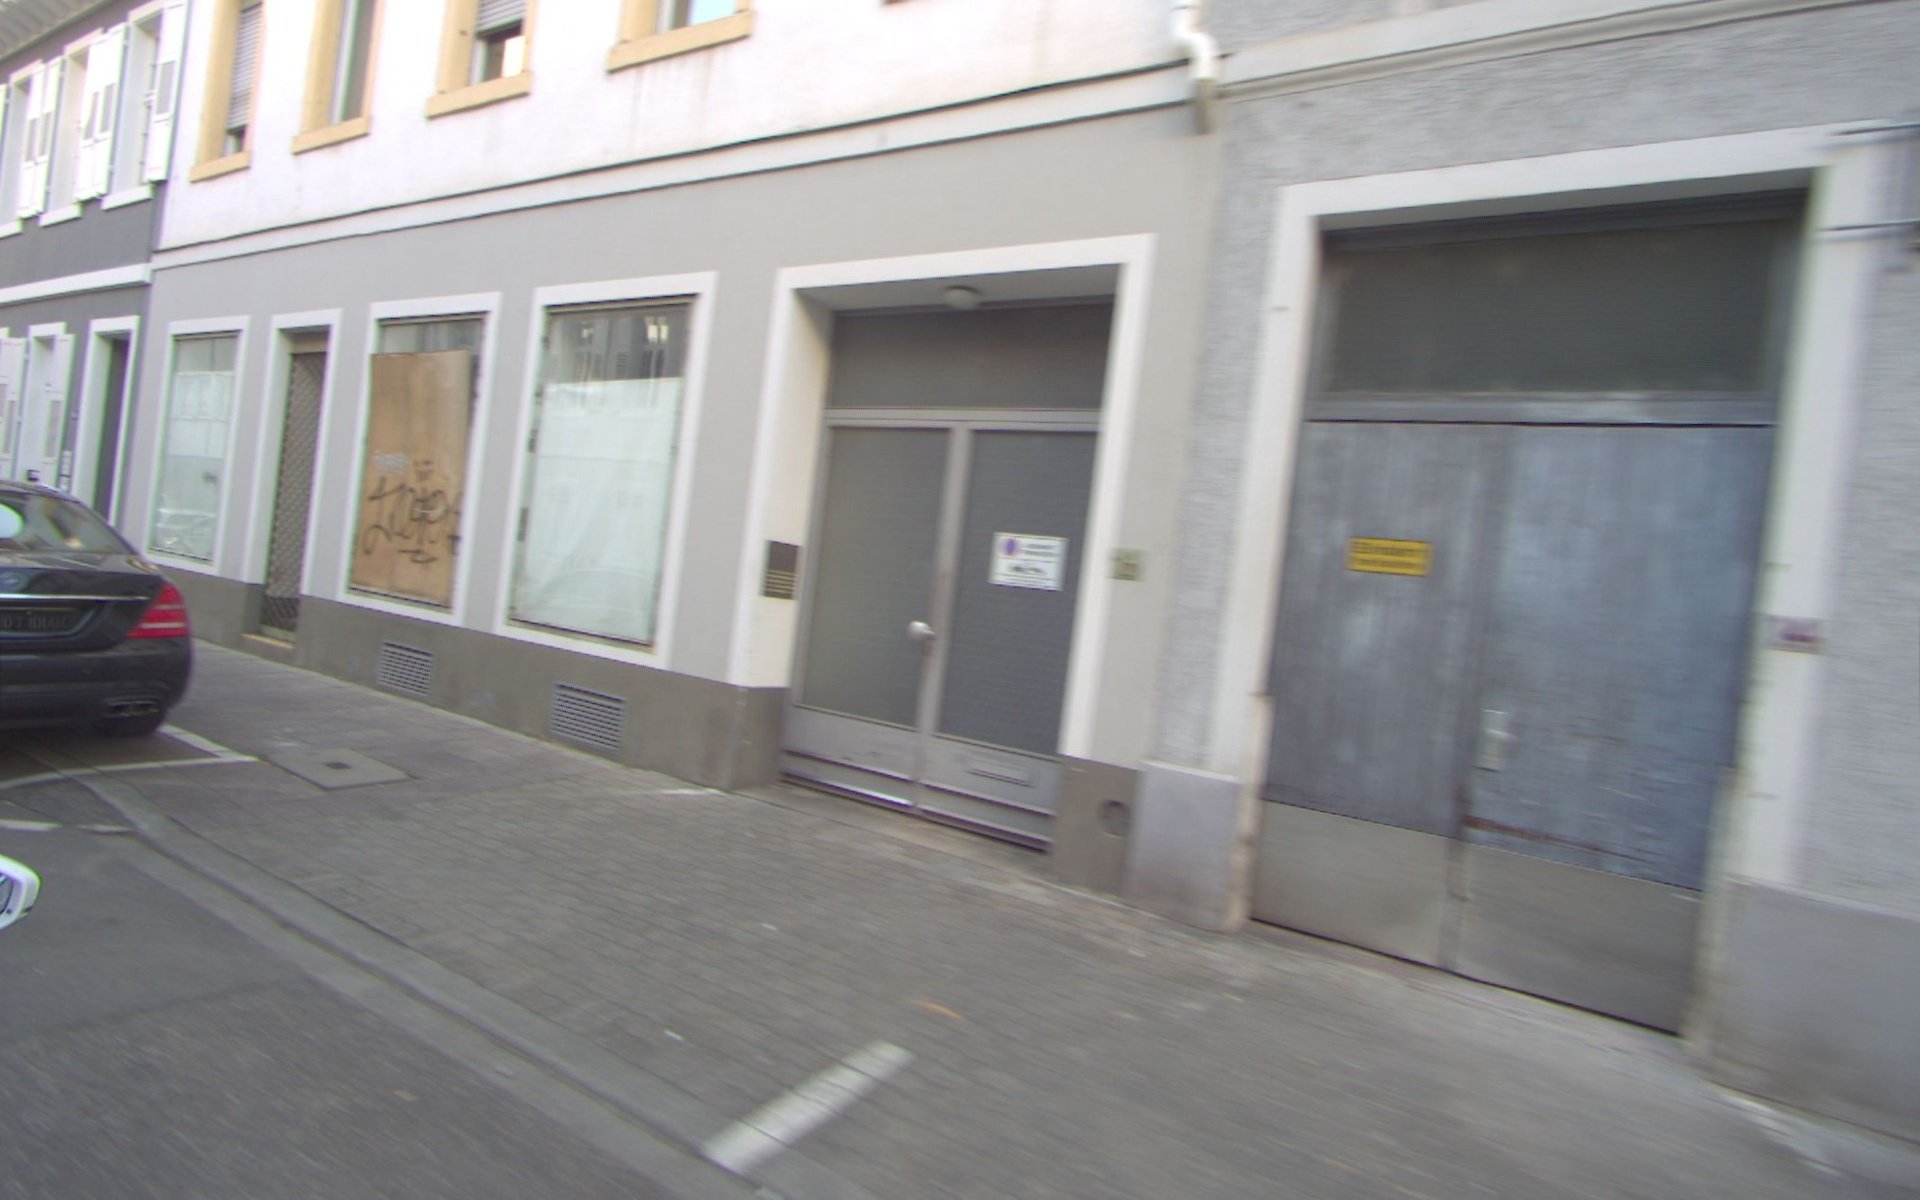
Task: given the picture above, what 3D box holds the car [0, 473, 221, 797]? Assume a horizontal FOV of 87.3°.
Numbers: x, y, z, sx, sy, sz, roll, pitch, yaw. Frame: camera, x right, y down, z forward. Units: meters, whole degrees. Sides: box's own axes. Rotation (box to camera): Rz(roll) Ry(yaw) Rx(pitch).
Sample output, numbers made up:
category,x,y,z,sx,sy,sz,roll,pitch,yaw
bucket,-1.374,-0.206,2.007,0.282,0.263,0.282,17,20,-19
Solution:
category,x,y,z,sx,sy,sz,roll,pitch,yaw
car,-6.675,-0.069,6.173,4.989,1.551,1.818,7,3,33
